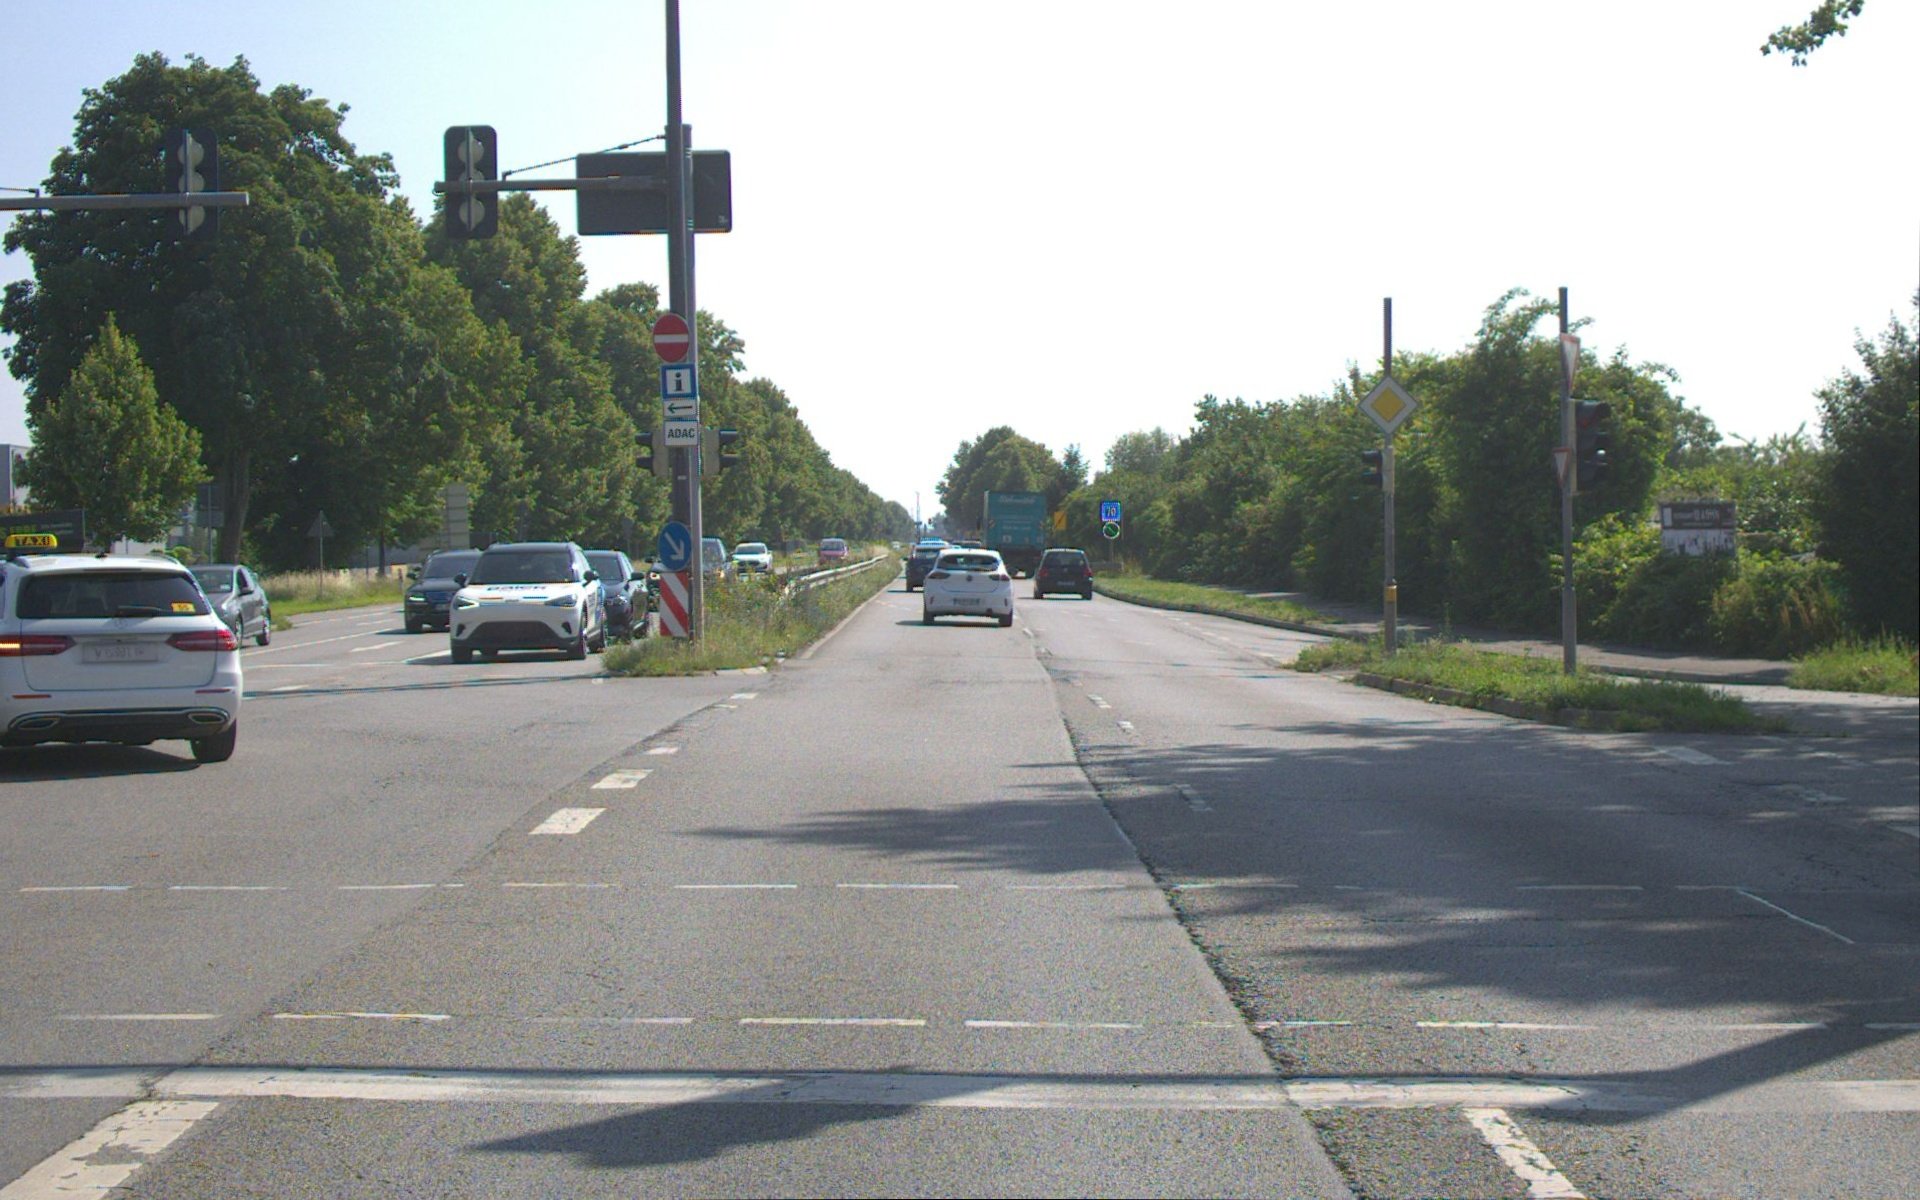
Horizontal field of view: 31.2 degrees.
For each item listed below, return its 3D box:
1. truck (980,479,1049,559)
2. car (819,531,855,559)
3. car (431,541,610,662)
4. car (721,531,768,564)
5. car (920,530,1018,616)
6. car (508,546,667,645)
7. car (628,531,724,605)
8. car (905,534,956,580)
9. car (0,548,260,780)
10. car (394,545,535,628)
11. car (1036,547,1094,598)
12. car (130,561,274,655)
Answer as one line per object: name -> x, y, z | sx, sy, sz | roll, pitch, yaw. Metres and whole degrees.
truck -> 2.375, -3.600, 152.789 | 2.891, 3.417, 9.169 | -1, 1, 0
car -> -6.731, -3.007, 188.268 | 1.912, 1.497, 4.091 | -1, 1, -1
car -> -6.126, -0.004, 48.327 | 2.010, 1.604, 4.211 | -1, 1, -1
car -> -9.887, -2.421, 158.029 | 1.993, 1.497, 4.091 | -1, 1, -1
car -> 0.197, -0.542, 66.064 | 1.799, 1.547, 4.000 | 1, 2, 1
car -> -5.929, -0.108, 55.182 | 1.817, 1.480, 4.893 | -1, 1, 2
car -> -6.403, -0.751, 77.930 | 1.847, 1.589, 4.617 | -1, 1, -1
car -> -0.909, -1.353, 107.351 | 1.572, 1.409, 3.278 | -1, 1, 0
car -> -6.533, 0.405, 24.838 | 1.812, 1.459, 4.972 | -2, 1, -24
car -> -9.276, -0.277, 64.613 | 1.930, 1.432, 4.267 | -1, 1, 1
car -> 3.013, -0.791, 99.284 | 1.572, 1.410, 3.277 | 0, 0, 0
car -> -12.609, 0.111, 57.369 | 1.486, 1.409, 3.762 | -3, 1, 0
